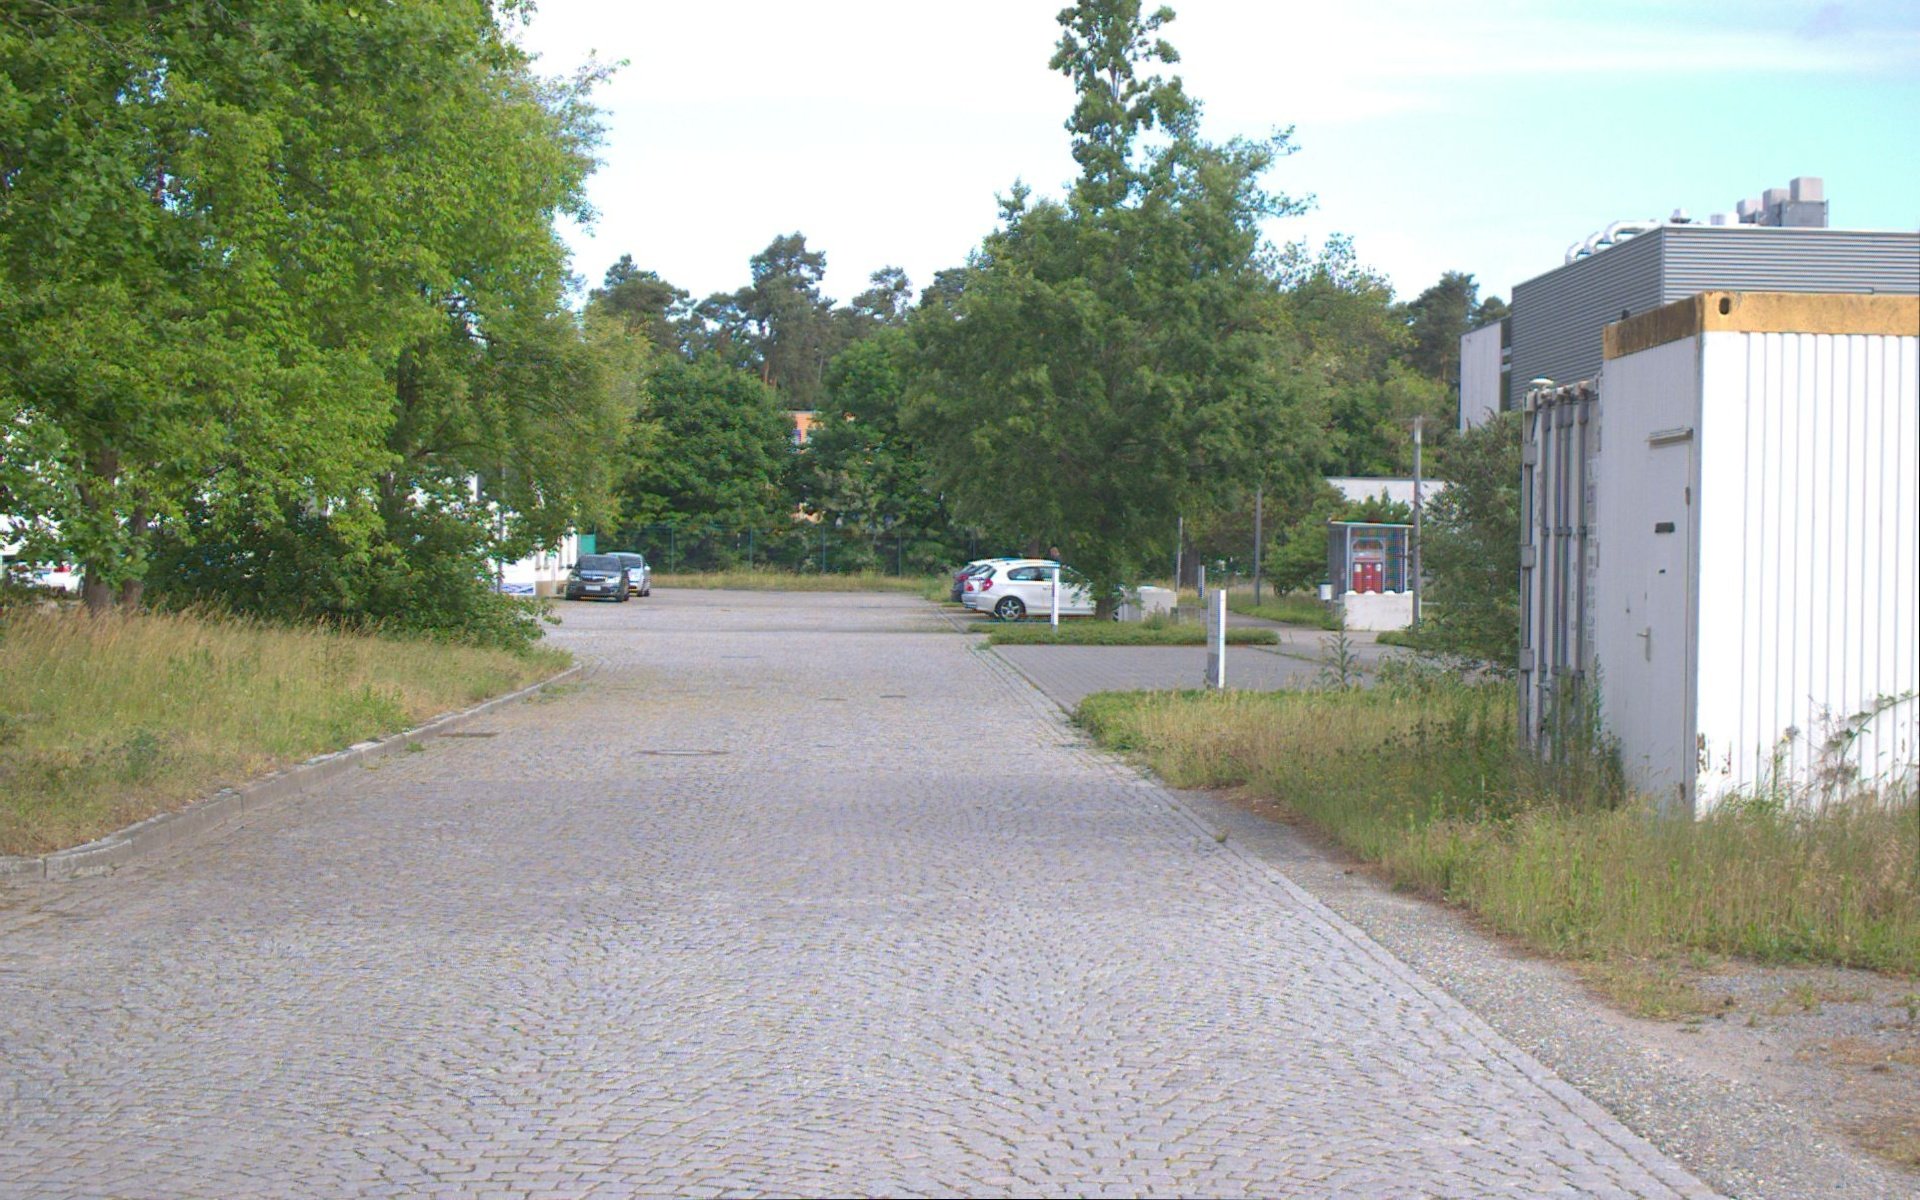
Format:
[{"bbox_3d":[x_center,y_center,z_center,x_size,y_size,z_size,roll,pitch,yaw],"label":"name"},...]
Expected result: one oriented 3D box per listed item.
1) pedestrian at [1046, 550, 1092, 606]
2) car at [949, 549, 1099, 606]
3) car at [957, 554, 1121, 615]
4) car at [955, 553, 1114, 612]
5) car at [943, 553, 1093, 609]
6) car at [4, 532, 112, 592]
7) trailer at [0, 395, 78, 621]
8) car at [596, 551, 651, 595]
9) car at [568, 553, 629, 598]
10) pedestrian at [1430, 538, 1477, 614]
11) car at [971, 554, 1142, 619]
[{"bbox_3d":[3.111,-0.625,98.044,0.969,1.563,0.941,1,1,28],"label":"pedestrian"},{"bbox_3d":[1.788,-0.647,96.577,3.986,1.528,2.000,1,1,-5],"label":"car"},{"bbox_3d":[1.946,-0.399,85.419,3.986,1.450,1.697,1,1,-1],"label":"car"},{"bbox_3d":[1.905,-0.464,88.459,3.986,1.450,1.770,1,1,-1],"label":"car"},{"bbox_3d":[1.565,-0.522,93.356,3.986,1.450,1.770,1,1,-1],"label":"car"},{"bbox_3d":[-24.549,-1.041,93.713,1.900,1.569,4.000,1,1,0],"label":"car"},{"bbox_3d":[-17.037,-1.514,55.606,2.656,3.693,10.721,1,1,1],"label":"trailer"},{"bbox_3d":[-11.437,-0.948,117.139,1.748,1.449,4.001,1,1,-4],"label":"car"},{"bbox_3d":[-11.222,-0.775,106.910,1.748,1.359,4.001,1,1,-4],"label":"car"},{"bbox_3d":[13.238,-0.650,92.232,0.920,2.007,1.147,1,1,-7],"label":"pedestrian"},{"bbox_3d":[2.311,-0.324,83.259,3.987,1.450,2.000,2,0,-1],"label":"car"}]
